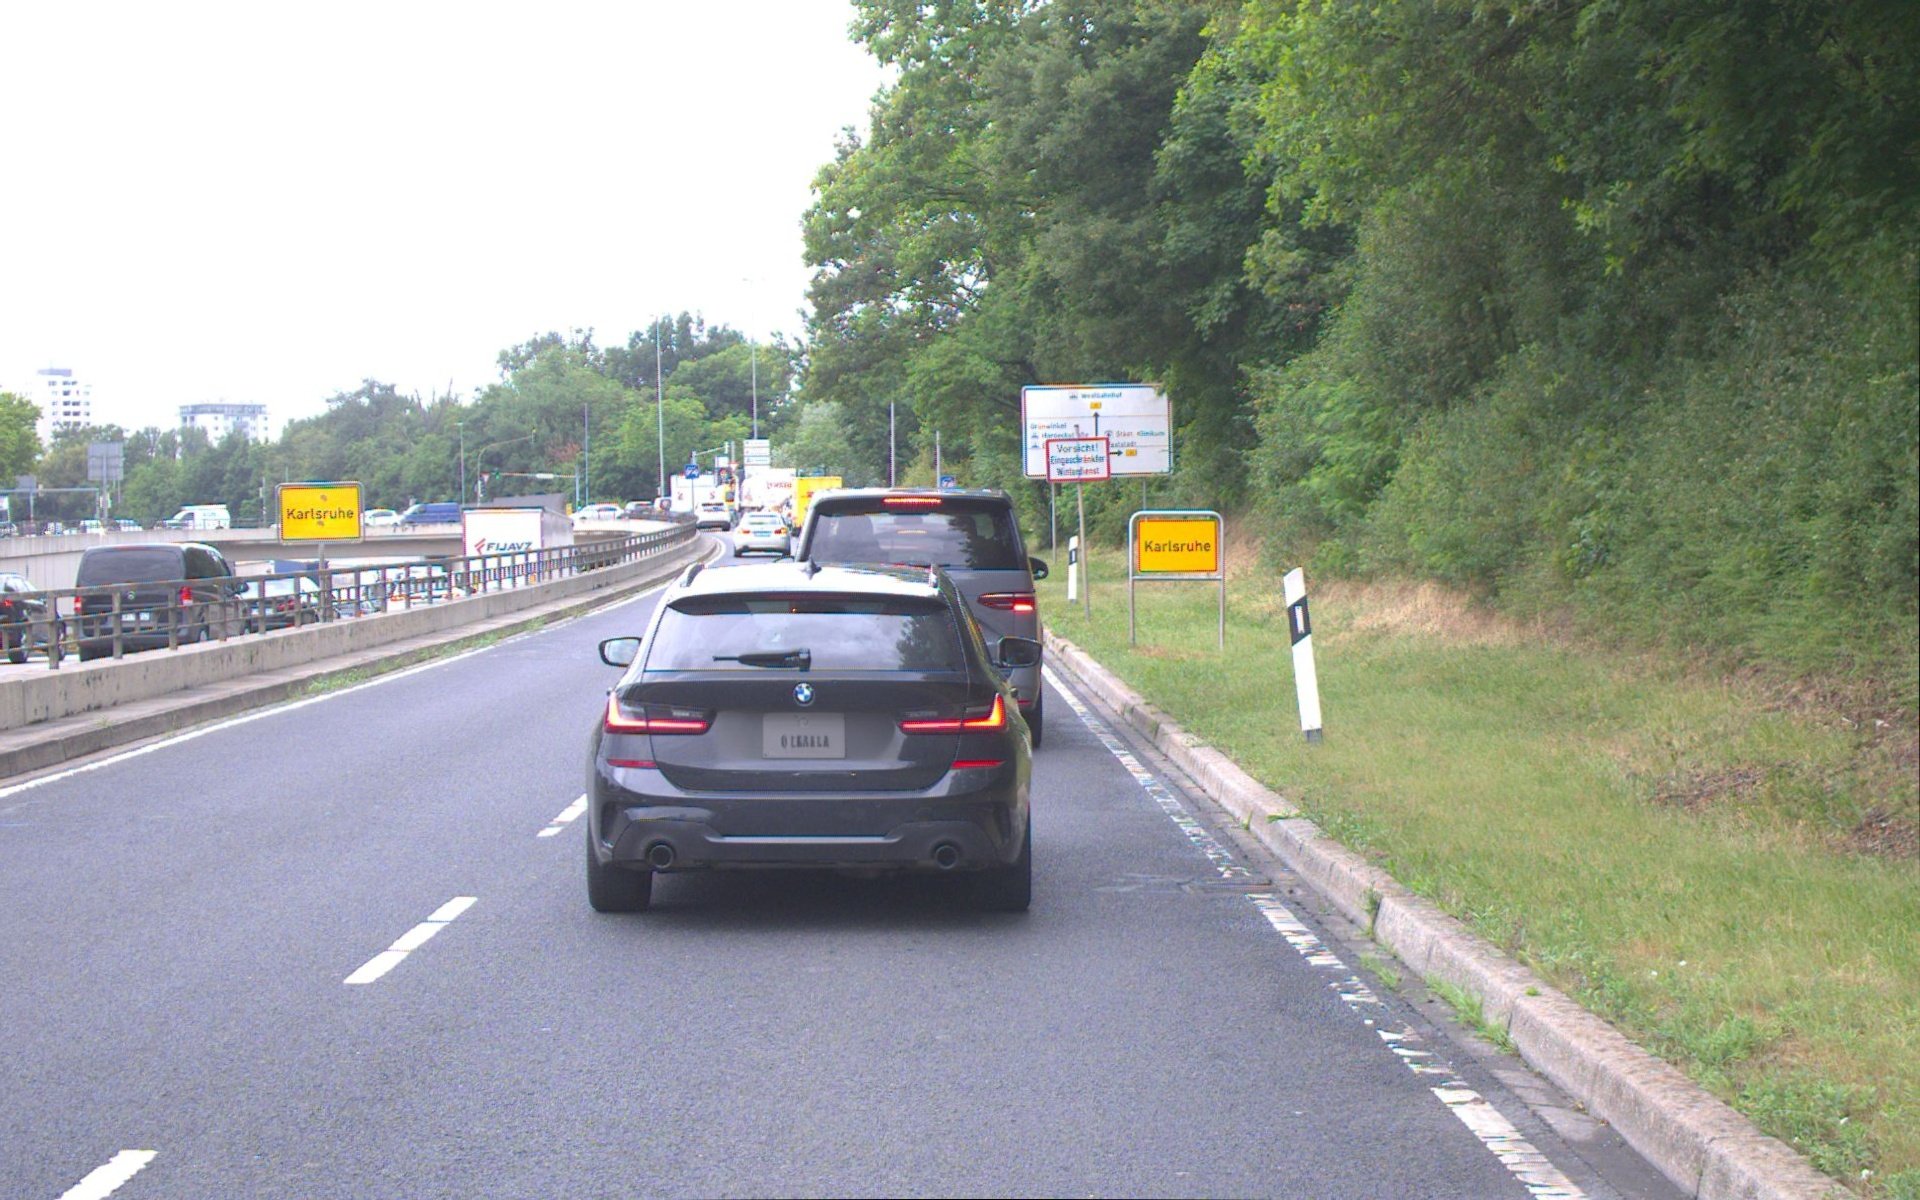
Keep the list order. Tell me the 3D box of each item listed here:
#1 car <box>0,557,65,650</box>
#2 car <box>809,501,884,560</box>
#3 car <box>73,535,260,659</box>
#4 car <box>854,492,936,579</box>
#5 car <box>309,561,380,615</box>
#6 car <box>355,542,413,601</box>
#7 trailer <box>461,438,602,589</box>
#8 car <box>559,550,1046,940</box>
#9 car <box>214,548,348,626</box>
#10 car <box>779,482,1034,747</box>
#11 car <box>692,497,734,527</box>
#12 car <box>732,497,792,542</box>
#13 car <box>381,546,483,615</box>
[{"bbox_3d":[-17.647,0.030,62.752,1.687,1.602,4.008,1,1,-2],"label":"car"},{"bbox_3d":[-2.886,-1.770,87.832,1.859,1.459,4.534,0,1,-2],"label":"car"},{"bbox_3d":[-12.377,-0.086,53.906,1.993,1.845,4.812,0,1,-2],"label":"car"},{"bbox_3d":[-1.174,-1.177,62.554,1.452,1.535,3.225,-1,1,-1],"label":"car"},{"bbox_3d":[-19.630,-0.389,109.770,1.687,1.626,3.735,1,1,-2],"label":"car"},{"bbox_3d":[-20.493,-1.034,122.440,1.443,2.037,3.680,-1,1,0],"label":"car"},{"bbox_3d":[-14.252,-2.842,115.519,3.132,4.709,14.559,1,1,-1],"label":"trailer"},{"bbox_3d":[-0.682,0.519,15.043,1.846,1.461,4.001,0,1,-3],"label":"car"},{"bbox_3d":[-13.287,-0.277,67.516,1.712,1.452,4.666,0,1,0],"label":"car"},{"bbox_3d":[-0.402,0.065,26.207,1.796,1.865,4.000,0,1,-1],"label":"car"},{"bbox_3d":[-13.642,-4.836,189.827,1.930,1.590,3.878,-1,1,-9],"label":"car"},{"bbox_3d":[-6.567,-2.656,114.459,1.859,1.459,4.885,0,1,-2],"label":"car"},{"bbox_3d":[-13.559,-0.530,88.458,1.946,1.686,4.507,-1,1,0],"label":"car"}]
